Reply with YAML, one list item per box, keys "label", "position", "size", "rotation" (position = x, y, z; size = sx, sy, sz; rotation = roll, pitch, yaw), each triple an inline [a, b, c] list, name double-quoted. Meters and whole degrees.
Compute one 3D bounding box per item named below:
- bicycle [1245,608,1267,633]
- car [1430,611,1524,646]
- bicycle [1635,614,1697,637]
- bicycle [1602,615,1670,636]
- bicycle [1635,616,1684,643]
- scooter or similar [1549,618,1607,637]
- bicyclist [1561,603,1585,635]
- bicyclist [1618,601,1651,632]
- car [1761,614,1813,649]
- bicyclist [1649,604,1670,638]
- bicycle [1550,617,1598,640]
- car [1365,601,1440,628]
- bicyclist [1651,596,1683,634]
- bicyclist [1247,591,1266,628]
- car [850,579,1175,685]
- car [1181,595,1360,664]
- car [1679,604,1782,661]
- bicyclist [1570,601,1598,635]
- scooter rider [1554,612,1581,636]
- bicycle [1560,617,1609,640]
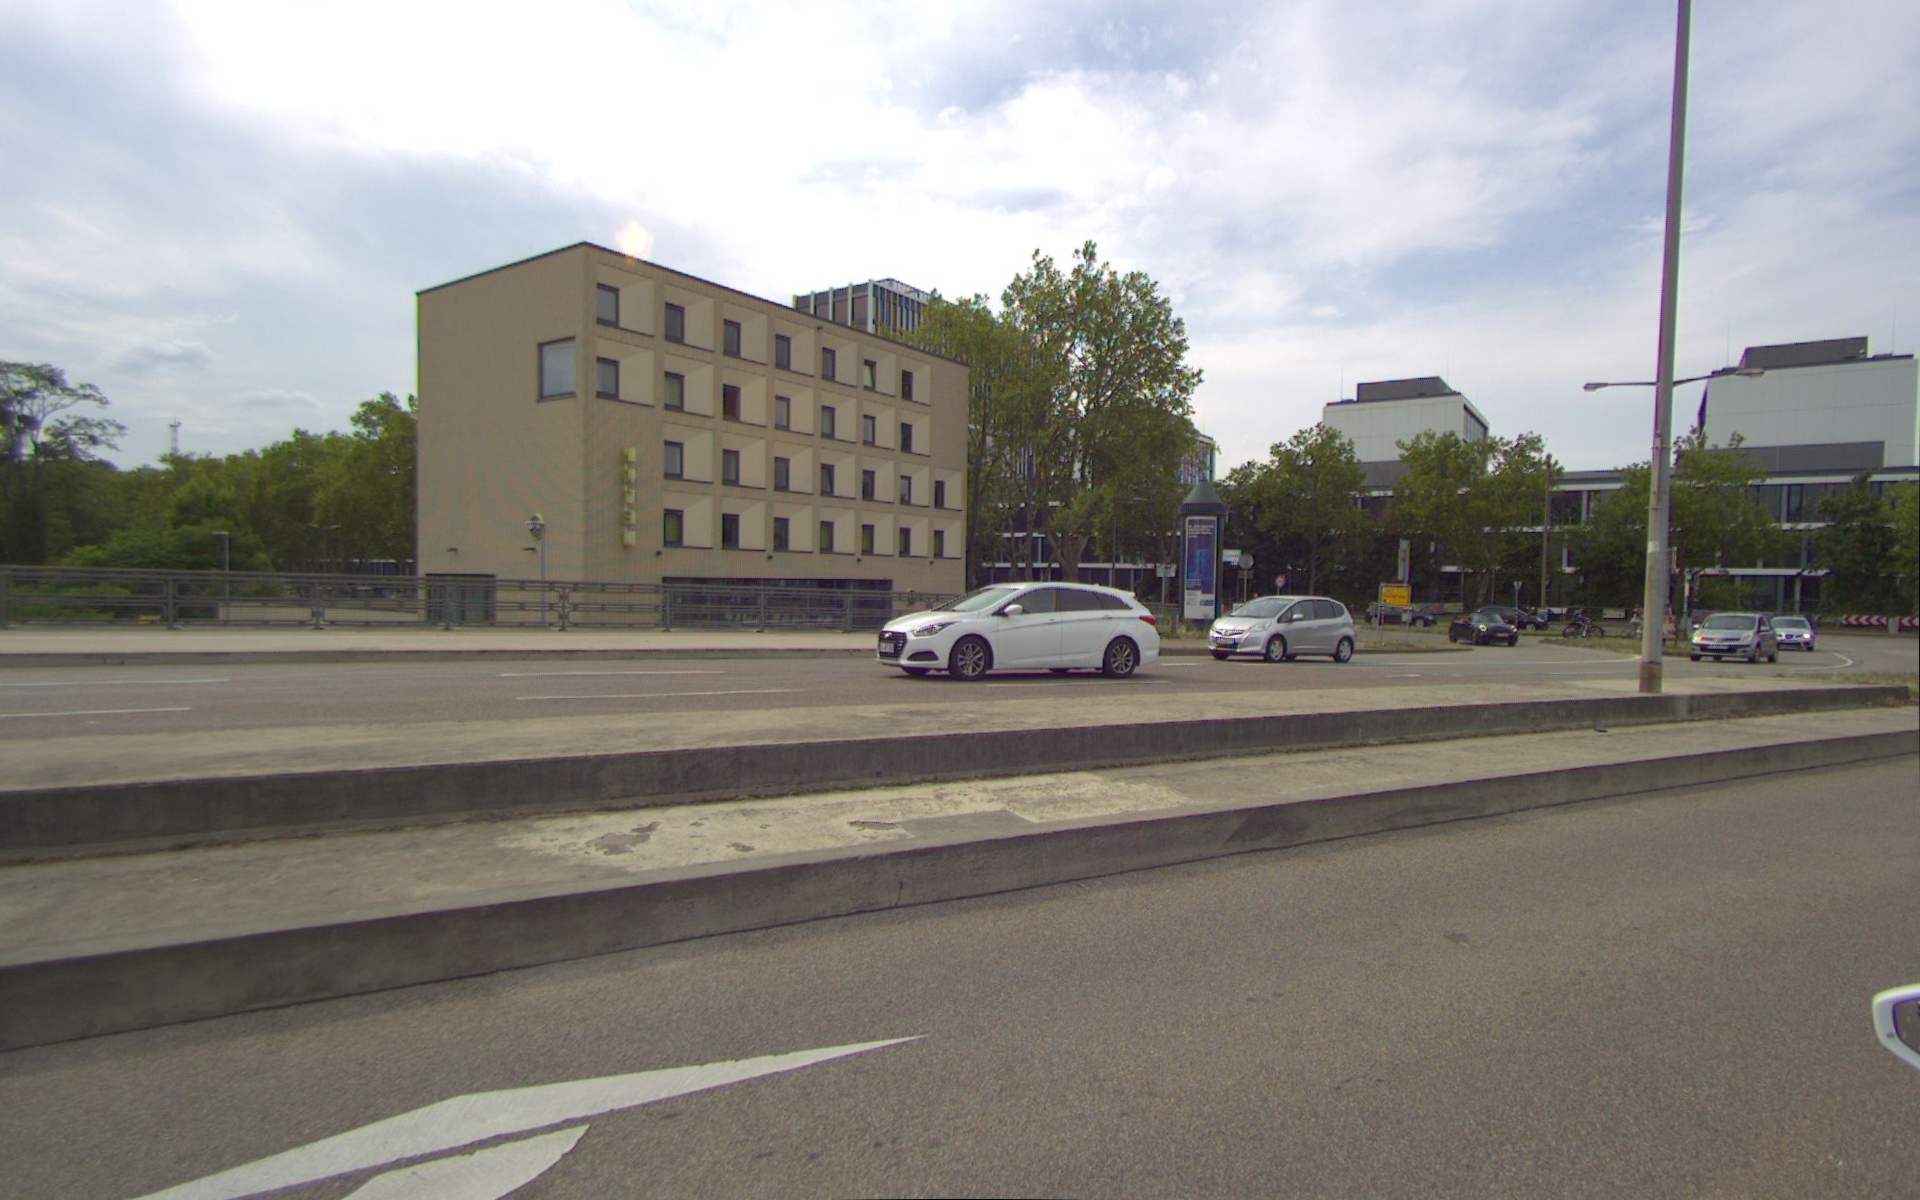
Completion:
- label: "bicycle"
  position: [13.507, 0.918, 45.854]
  size: [0.672, 1.068, 1.995]
  rotation: [2, 1, 8]
- label: "car"
  position: [22.554, 1.230, 43.971]
  size: [1.715, 1.429, 3.871]
  rotation: [1, -1, -8]
- label: "bicycle"
  position: [32.061, 1.174, 45.660]
  size: [2.190, 0.965, 0.812]
  rotation: [1, 1, 4]
- label: "bicycle"
  position: [32.159, 1.217, 47.809]
  size: [2.539, 0.902, 0.705]
  rotation: [1, 1, 14]
- label: "bicycle"
  position: [33.736, 1.415, 48.475]
  size: [1.875, 1.226, 0.641]
  rotation: [2, 1, 33]
- label: "scooter or similar"
  position: [30.841, 1.354, 50.144]
  size: [2.338, 0.861, 0.809]
  rotation: [1, 1, 11]
- label: "bicyclist"
  position: [29.676, 0.911, 48.633]
  size: [0.824, 1.550, 0.628]
  rotation: [1, 1, 18]
- label: "bicyclist"
  position: [32.096, 0.773, 47.816]
  size: [1.094, 1.456, 0.648]
  rotation: [1, 1, 14]
- label: "car"
  position: [35.599, 1.348, 43.297]
  size: [1.596, 1.429, 3.845]
  rotation: [1, -1, 38]
- label: "bicyclist"
  position: [33.728, 1.002, 48.462]
  size: [0.768, 1.602, 0.653]
  rotation: [2, 1, 33]
- label: "bicycle"
  position: [29.709, 1.364, 48.626]
  size: [1.869, 1.027, 0.628]
  rotation: [1, 1, 18]
- label: "car"
  position: [27.690, 0.890, 62.911]
  size: [4.003, 1.470, 1.697]
  rotation: [2, 1, 35]
- label: "bicyclist"
  position: [32.127, 0.675, 45.645]
  size: [0.866, 1.678, 0.812]
  rotation: [1, 1, 4]
- label: "bicyclist"
  position: [13.526, 0.427, 45.885]
  size: [0.672, 1.694, 0.848]
  rotation: [2, 1, 8]
- label: "car"
  position: [0.876, 0.456, 15.636]
  size: [4.824, 1.434, 1.909]
  rotation: [1, 0, -30]
- label: "car"
  position: [7.123, 0.664, 22.936]
  size: [3.988, 1.434, 1.797]
  rotation: [2, 0, -34]
- label: "car"
  position: [24.358, 1.018, 31.711]
  size: [4.045, 1.680, 1.728]
  rotation: [2, -1, -40]
- label: "bicyclist"
  position: [29.547, 0.865, 47.588]
  size: [0.999, 1.560, 0.628]
  rotation: [2, 1, 22]
- label: "scooter rider"
  position: [30.389, 1.192, 50.229]
  size: [0.898, 1.152, 0.809]
  rotation: [1, 1, 11]
- label: "bicycle"
  position: [29.563, 1.332, 47.597]
  size: [1.870, 1.027, 0.628]
  rotation: [2, 1, 22]
